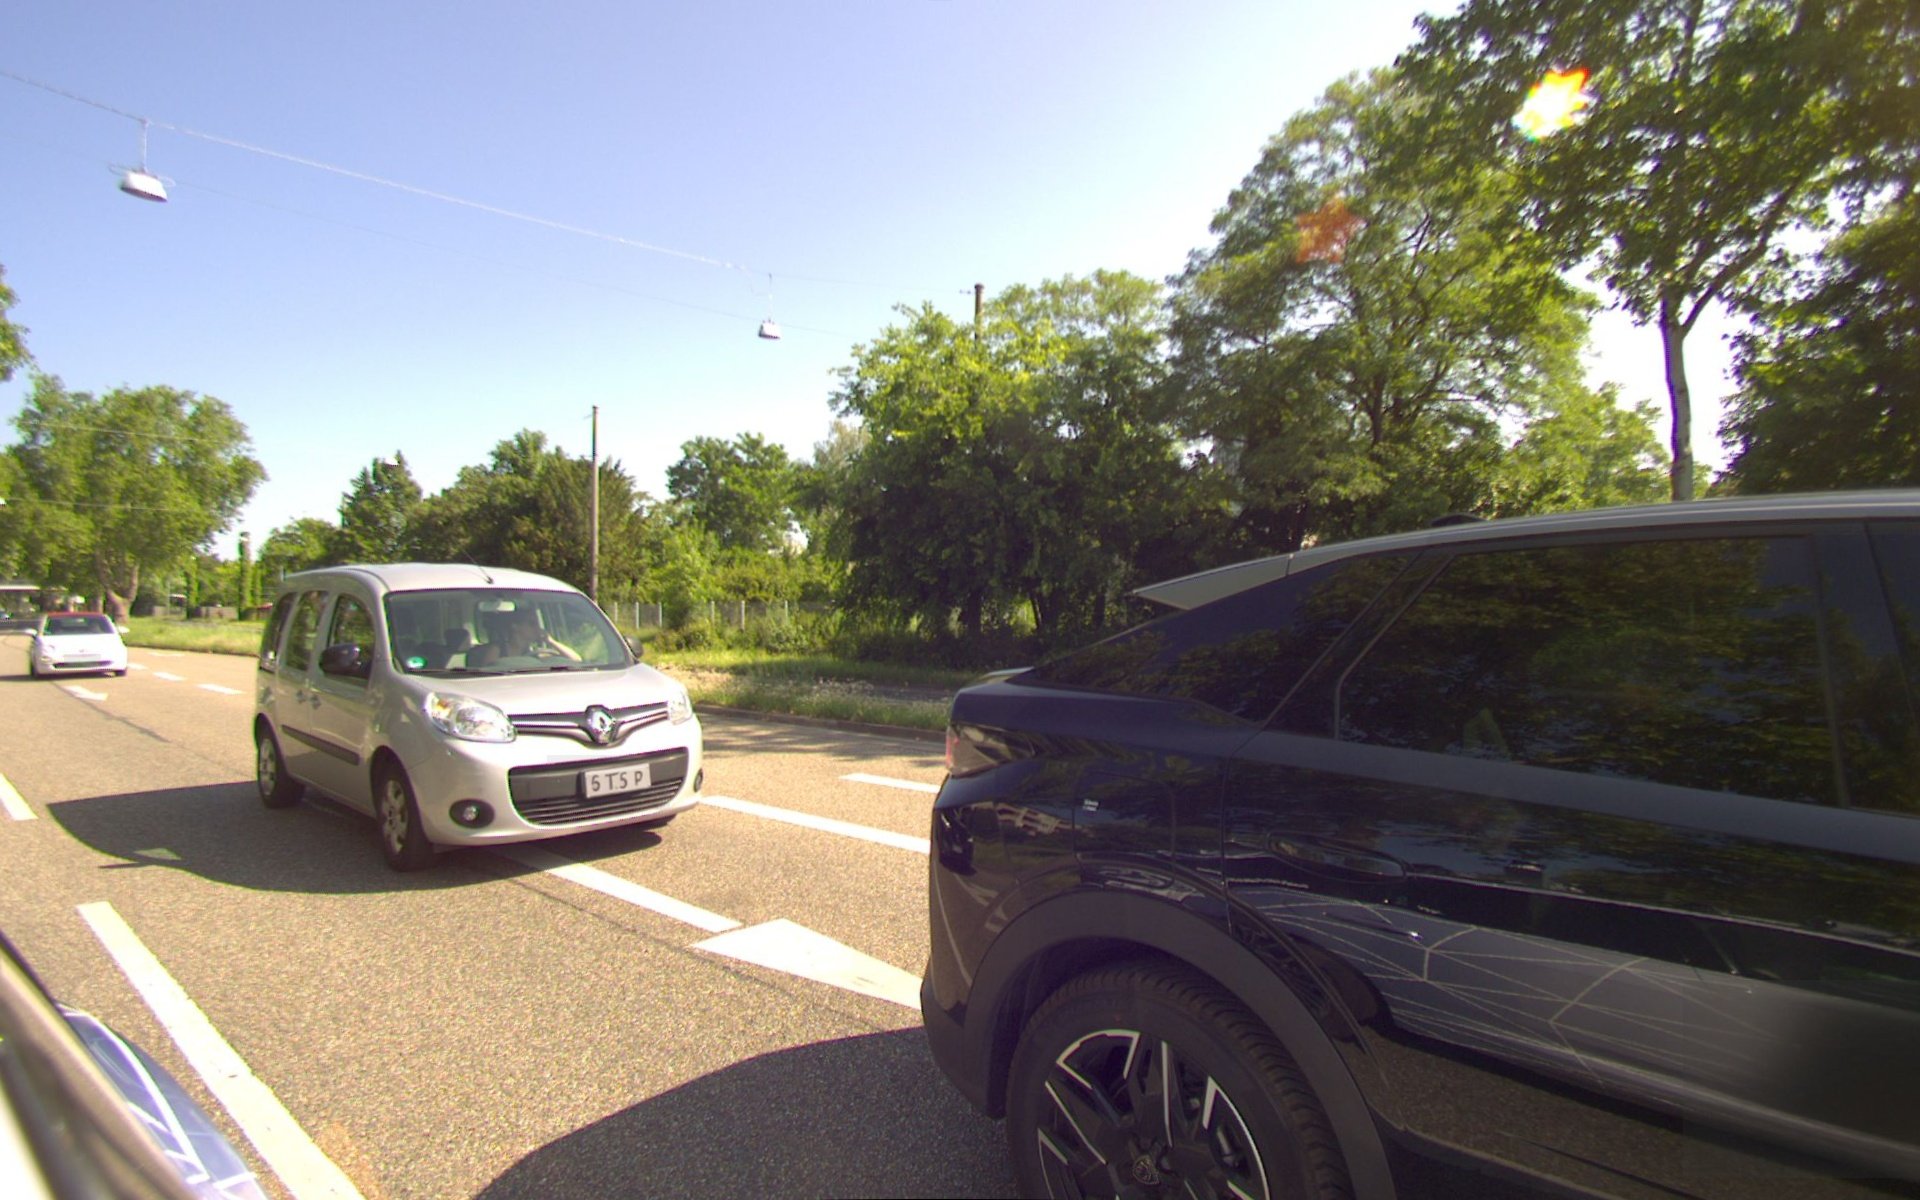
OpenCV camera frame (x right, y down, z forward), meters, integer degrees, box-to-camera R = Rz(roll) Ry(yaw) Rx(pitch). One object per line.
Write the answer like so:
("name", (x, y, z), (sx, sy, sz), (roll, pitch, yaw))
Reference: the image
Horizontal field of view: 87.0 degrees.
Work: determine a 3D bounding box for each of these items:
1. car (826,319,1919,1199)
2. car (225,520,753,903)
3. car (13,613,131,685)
("car", (1.952, 0.529, 1.645), (4.433, 1.709, 1.853), (-1, -1, 41))
("car", (-3.503, 0.570, 7.085), (4.375, 1.854, 1.852), (-1, -1, 43))
("car", (-21.028, 1.085, 23.906), (4.376, 1.502, 1.666), (-1, 0, 43))
